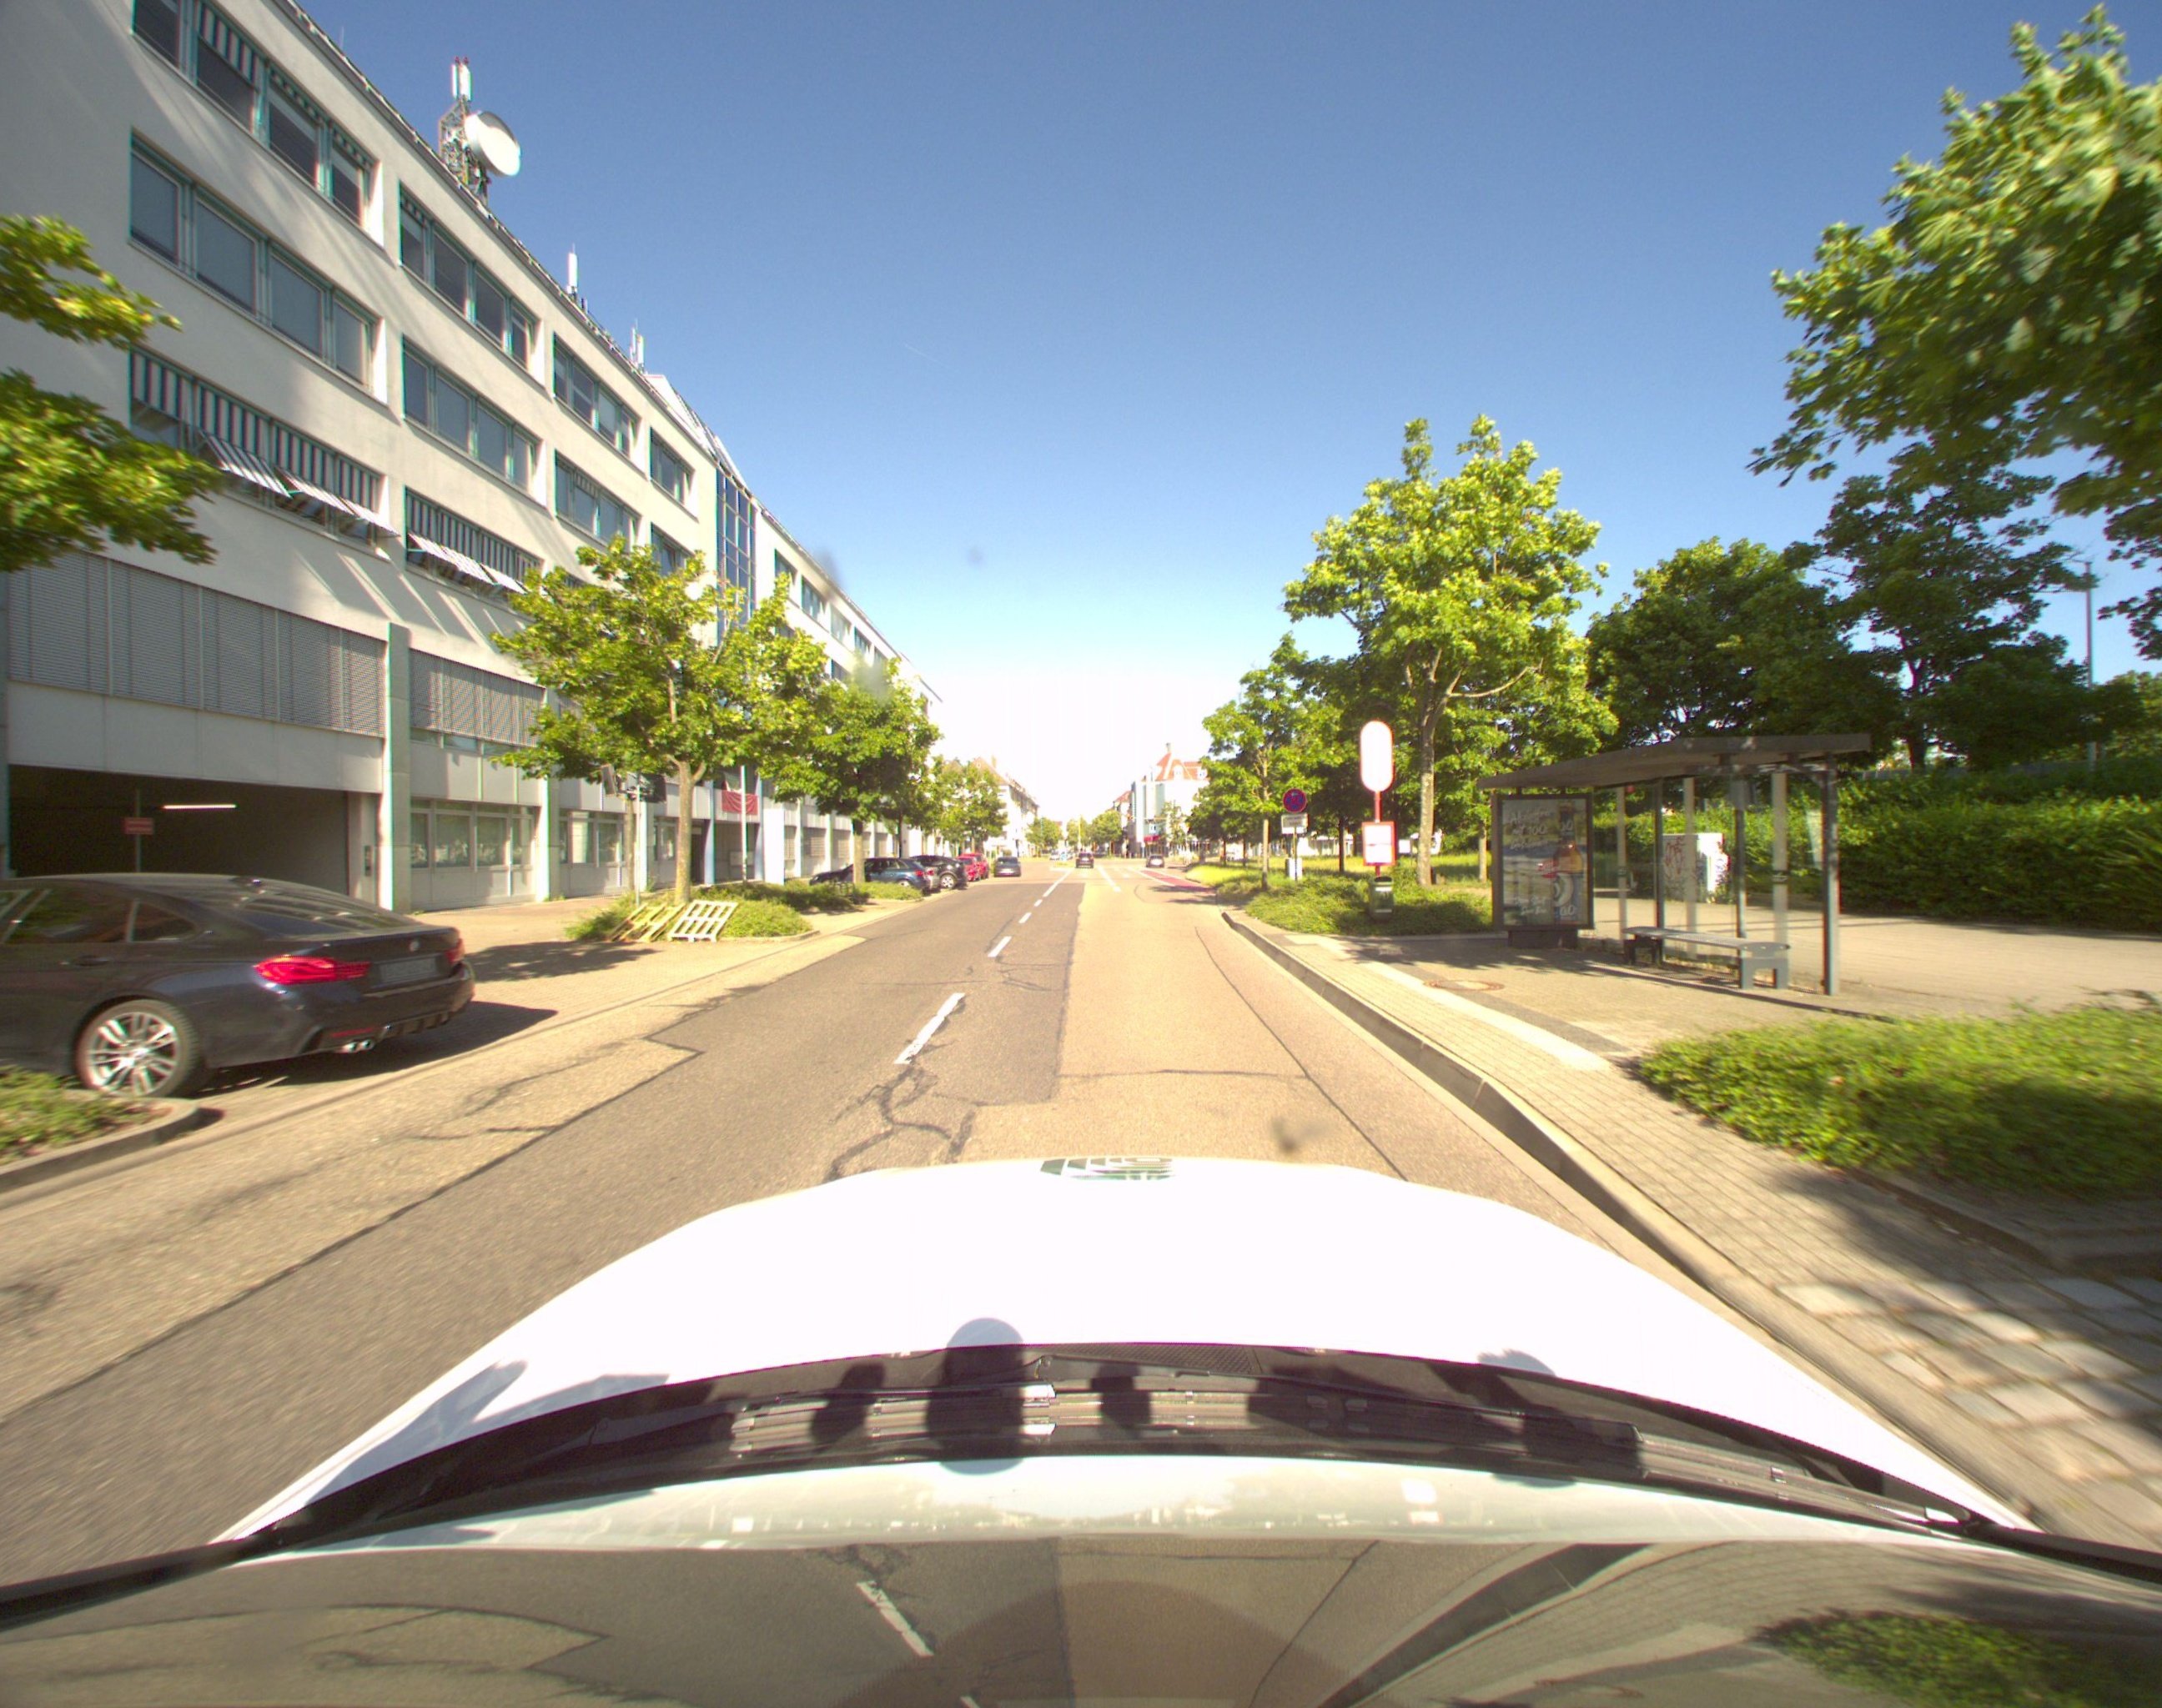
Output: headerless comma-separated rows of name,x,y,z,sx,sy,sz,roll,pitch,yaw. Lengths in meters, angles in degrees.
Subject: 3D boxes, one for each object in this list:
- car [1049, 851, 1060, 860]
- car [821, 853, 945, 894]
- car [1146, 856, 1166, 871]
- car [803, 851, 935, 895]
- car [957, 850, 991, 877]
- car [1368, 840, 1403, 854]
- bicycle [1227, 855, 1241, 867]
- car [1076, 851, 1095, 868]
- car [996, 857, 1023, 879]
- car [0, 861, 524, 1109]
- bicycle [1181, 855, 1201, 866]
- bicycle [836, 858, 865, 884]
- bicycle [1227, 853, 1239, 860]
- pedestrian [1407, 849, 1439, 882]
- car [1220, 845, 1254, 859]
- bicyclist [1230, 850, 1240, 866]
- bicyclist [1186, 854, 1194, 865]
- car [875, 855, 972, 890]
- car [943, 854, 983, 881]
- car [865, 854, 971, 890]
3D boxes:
car,-4.923,0.286,153.268,1.747,1.556,3.732,2,0,1
car,-7.727,0.733,32.032,4.371,1.432,1.693,2,0,0
car,8.225,1.003,89.700,1.684,1.577,3.867,2,0,-3
car,-7.617,0.676,29.617,4.378,1.432,1.690,2,0,-5
car,-6.791,0.592,52.168,1.684,1.607,4.307,2,0,-2
car,38.622,-0.852,103.335,3.841,1.577,1.696,2,0,4
bicycle,18.571,0.814,98.877,0.782,1.348,2.277,-1,0,37
car,0.430,0.560,83.999,1.749,1.628,4.476,2,0,-1
car,-5.054,0.981,57.893,1.684,1.468,4.542,-1,0,-3
car,-7.037,0.834,5.992,4.376,1.432,1.975,2,0,-4
bicycle,13.069,0.757,97.109,2.233,1.348,0.798,-1,0,35
bicycle,-12.612,0.902,44.597,0.705,1.347,2.236,-2,0,6
bicycle,26.544,0.358,142.119,1.860,1.182,0.561,-1,0,-5
pedestrian,13.055,0.424,31.124,0.845,1.217,0.725,-2,0,-13
car,19.532,-0.222,102.230,3.941,1.600,1.675,-2,0,-2
bicyclist,18.665,0.498,99.008,0.782,1.959,1.017,-1,0,37
bicyclist,12.982,0.641,97.179,0.695,1.348,0.798,-1,0,35
car,-7.576,0.875,39.539,4.378,1.538,1.691,2,0,-5
car,-6.739,0.743,46.894,1.682,1.432,3.871,2,0,0
car,-7.231,0.786,36.494,4.375,1.432,1.692,2,0,-3
